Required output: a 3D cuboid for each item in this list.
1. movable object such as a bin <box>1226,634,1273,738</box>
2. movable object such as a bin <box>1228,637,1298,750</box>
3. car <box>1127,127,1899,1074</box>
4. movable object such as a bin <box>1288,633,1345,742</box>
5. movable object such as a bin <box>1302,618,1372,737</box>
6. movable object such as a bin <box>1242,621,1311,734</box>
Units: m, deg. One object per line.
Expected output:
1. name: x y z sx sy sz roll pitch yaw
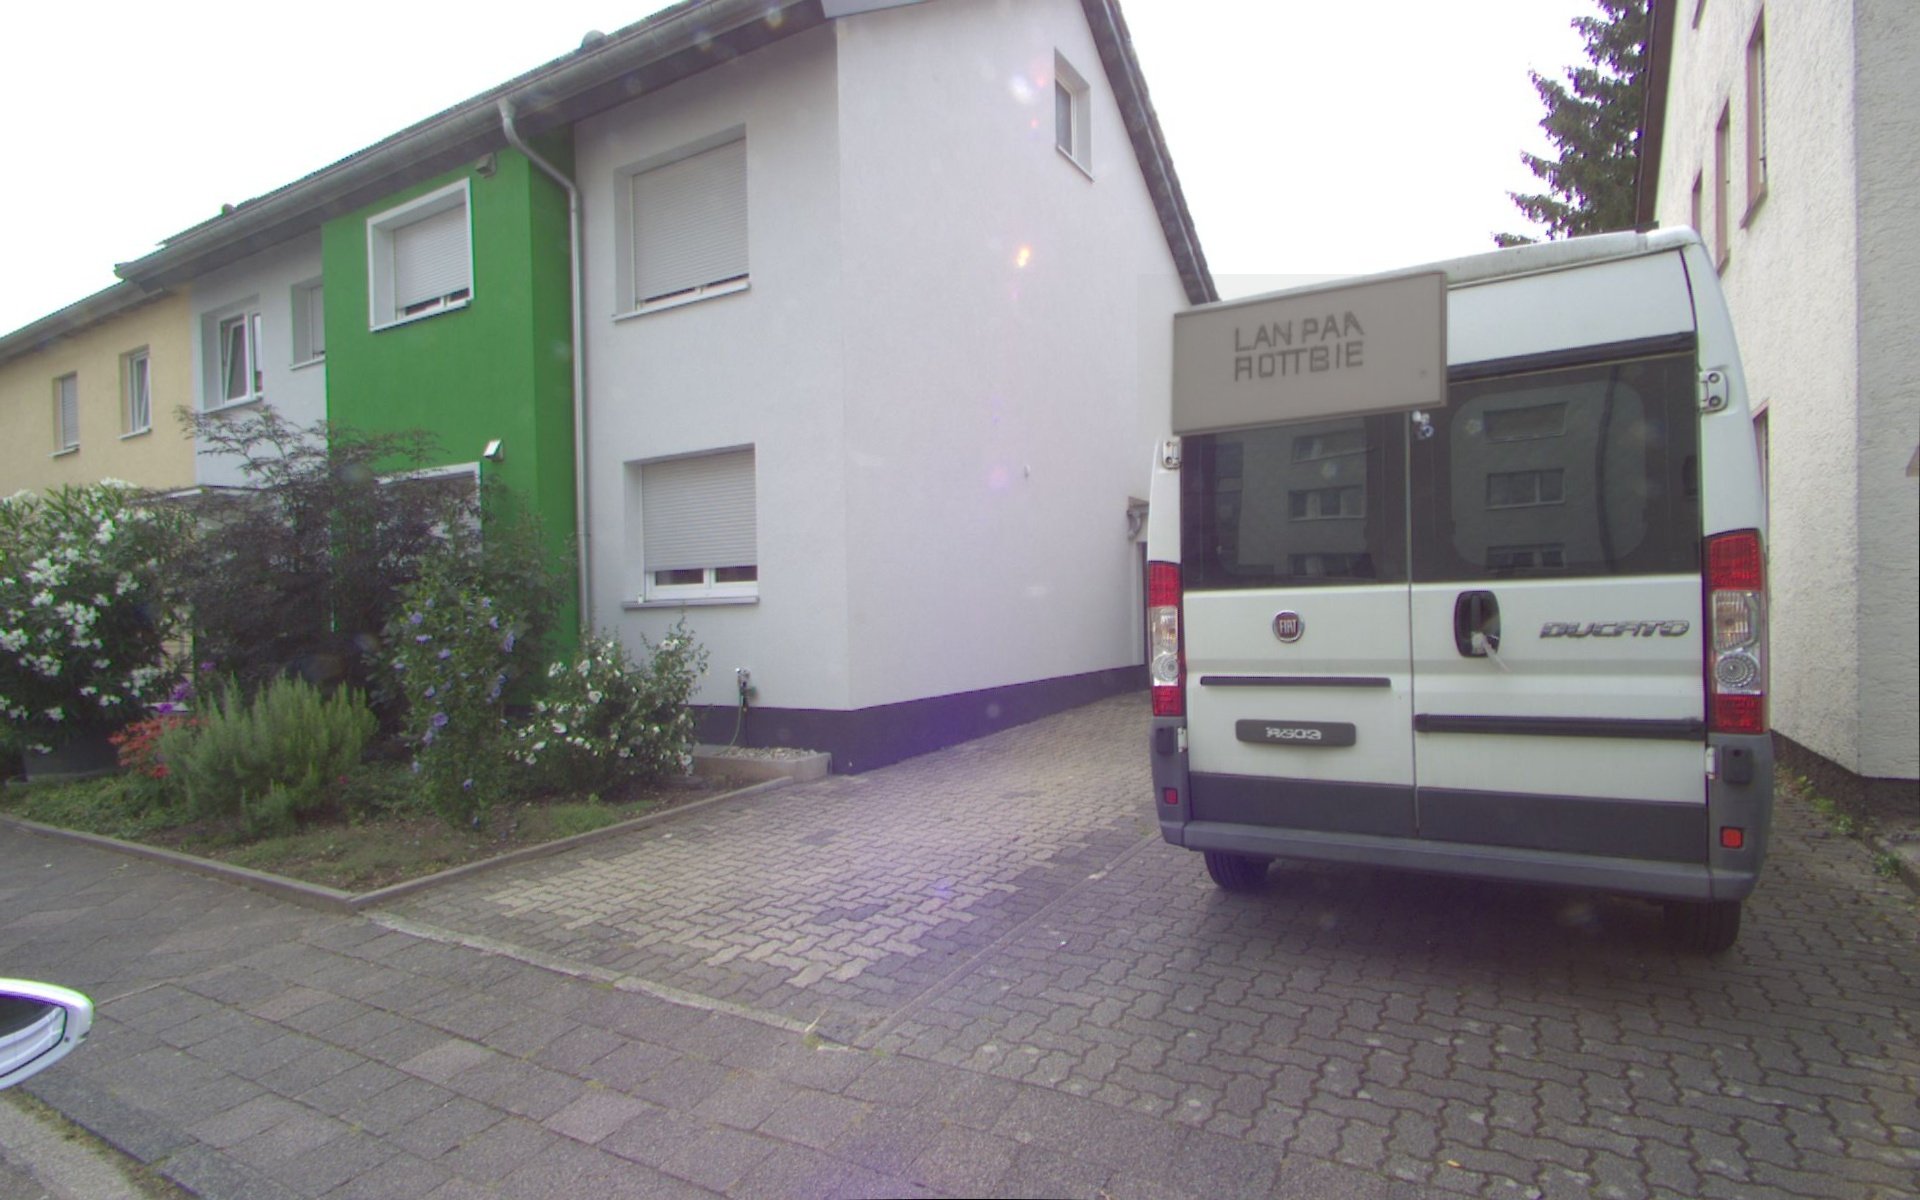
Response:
1. movable object such as a bin: 2.745 0.803 9.486 0.333 0.938 0.354 -1 2 30
2. movable object such as a bin: 2.691 0.811 8.873 0.475 0.938 0.518 -1 2 30
3. car: 2.910 -0.019 5.484 2.205 2.576 5.077 -1 1 31
4. movable object such as a bin: 3.260 0.783 9.144 0.396 0.938 0.448 -1 2 30
5. movable object such as a bin: 3.586 0.718 9.517 0.538 1.071 0.454 -1 2 30
6. movable object such as a bin: 3.099 0.744 9.800 0.538 1.046 0.454 -1 2 30
